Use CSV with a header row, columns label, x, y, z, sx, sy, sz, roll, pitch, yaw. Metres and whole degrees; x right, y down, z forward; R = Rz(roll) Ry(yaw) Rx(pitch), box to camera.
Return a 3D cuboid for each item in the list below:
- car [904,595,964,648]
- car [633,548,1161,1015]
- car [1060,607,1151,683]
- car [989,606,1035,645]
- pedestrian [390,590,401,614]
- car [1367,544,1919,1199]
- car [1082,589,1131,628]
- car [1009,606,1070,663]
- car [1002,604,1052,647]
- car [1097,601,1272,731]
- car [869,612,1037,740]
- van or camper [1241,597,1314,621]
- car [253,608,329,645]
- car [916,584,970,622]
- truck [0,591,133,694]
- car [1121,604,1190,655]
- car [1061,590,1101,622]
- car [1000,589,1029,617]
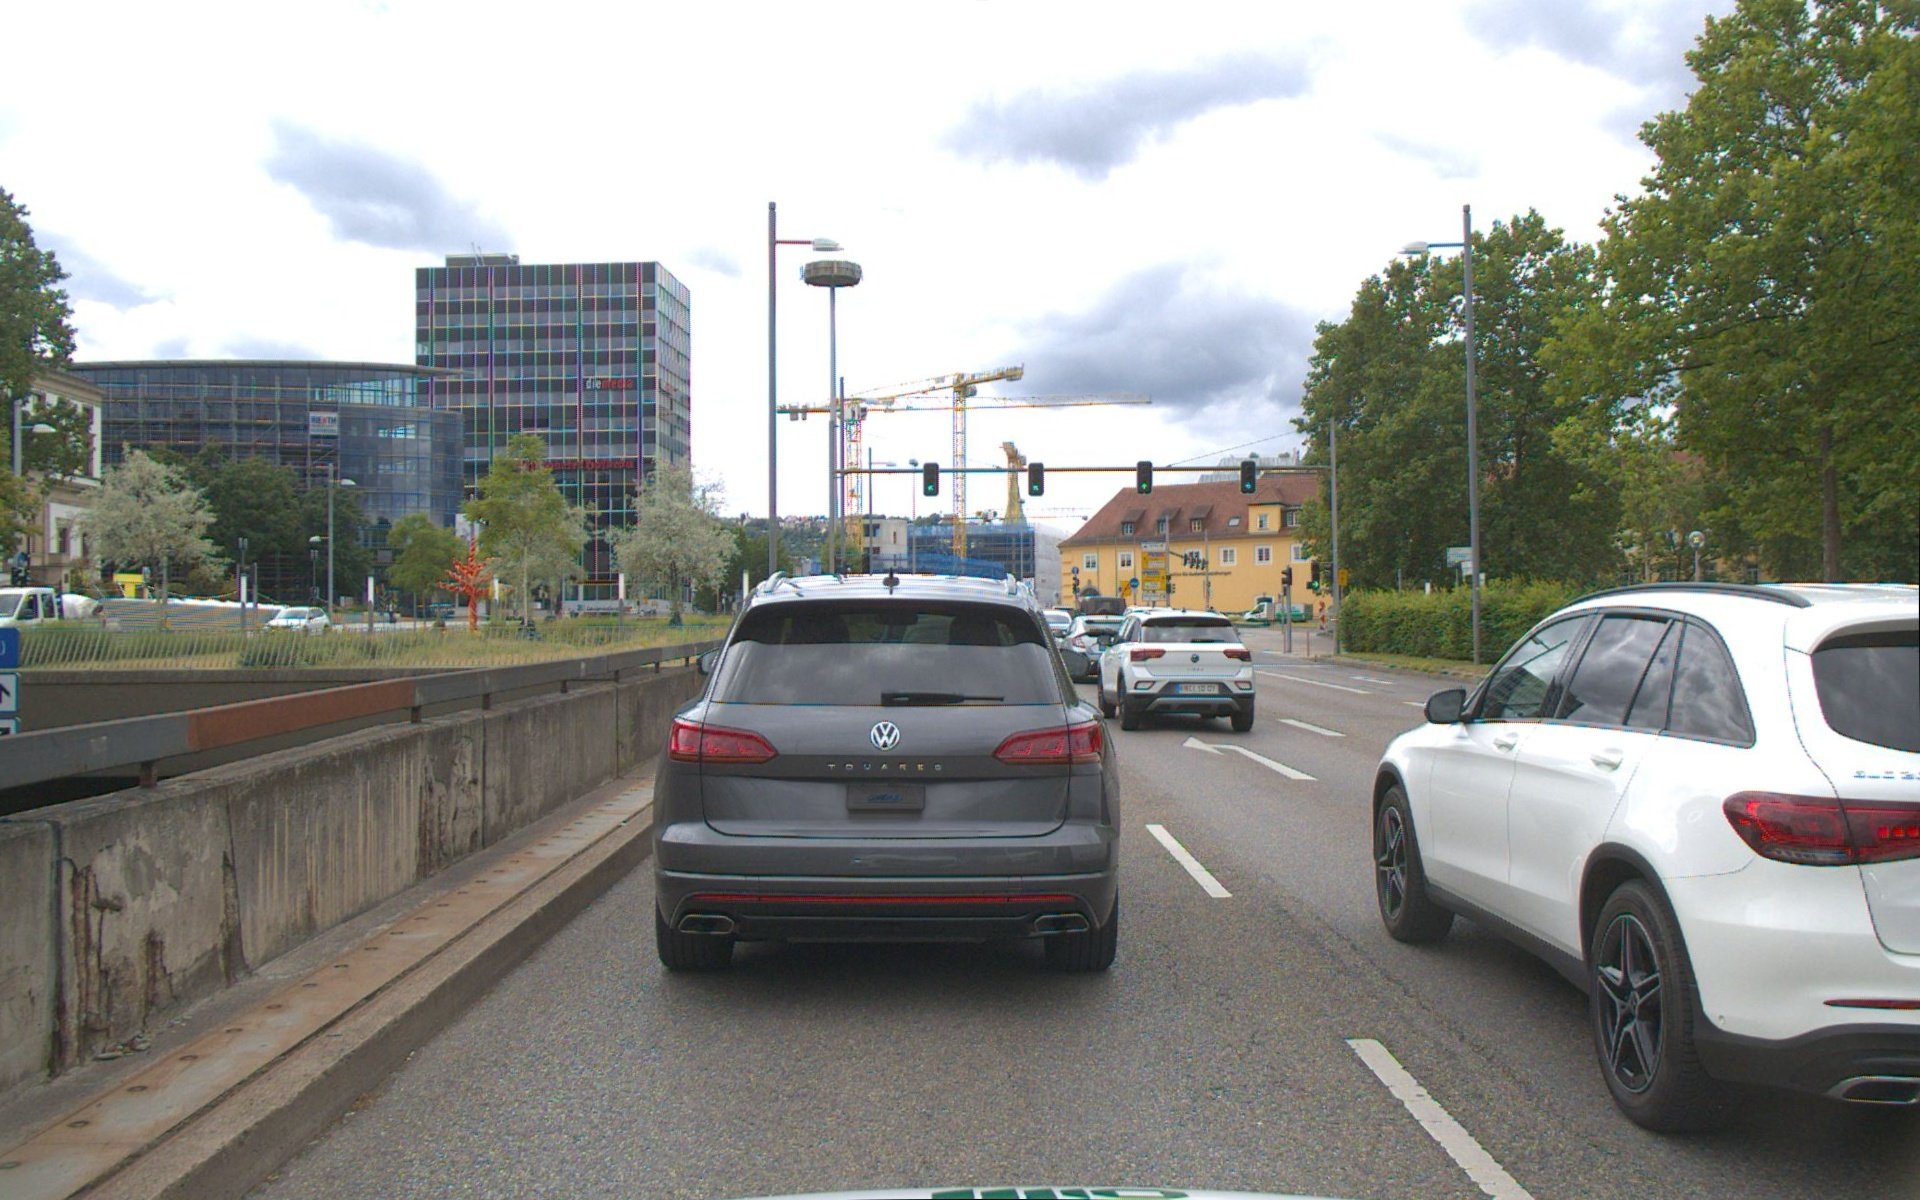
label,x,y,z,sx,sy,sz,roll,pitch,yaw
car,-0.790,0.629,50.639,1.777,1.522,3.905,0,0,-1
car,-0.252,0.648,7.970,1.893,1.676,3.999,0,0,-1
car,3.161,0.948,36.572,1.683,1.529,4.144,0,0,0
car,2.395,1.175,76.528,2.095,1.758,4.071,0,0,2
pedestrian,-38.780,0.148,113.617,0.513,1.678,0.650,1,-1,-2
car,2.953,0.695,6.234,1.781,1.676,4.379,0,0,0
car,5.959,0.342,67.733,1.683,1.529,3.981,0,0,0
car,2.297,0.960,48.062,1.683,1.529,3.982,0,0,2
car,2.482,0.931,61.903,1.683,1.529,3.981,0,0,0
car,3.004,0.840,22.865,1.855,1.613,3.800,0,0,-1
car,-0.108,0.892,21.187,1.953,1.411,3.999,0,1,-1
van or camper,27.331,0.758,142.622,5.902,2.049,2.012,0,-1,35
car,-31.631,1.228,78.341,1.683,1.602,4.613,0,1,0
car,-0.675,0.123,69.546,2.198,1.529,4.611,0,0,0
truck,-28.060,1.169,50.109,2.413,2.865,7.079,0,1,0
car,6.221,0.900,52.911,1.766,1.529,3.981,0,0,0
car,5.826,0.272,79.936,1.683,1.529,3.981,0,0,0
car,3.960,0.205,120.814,1.953,2.049,3.999,0,0,-1
